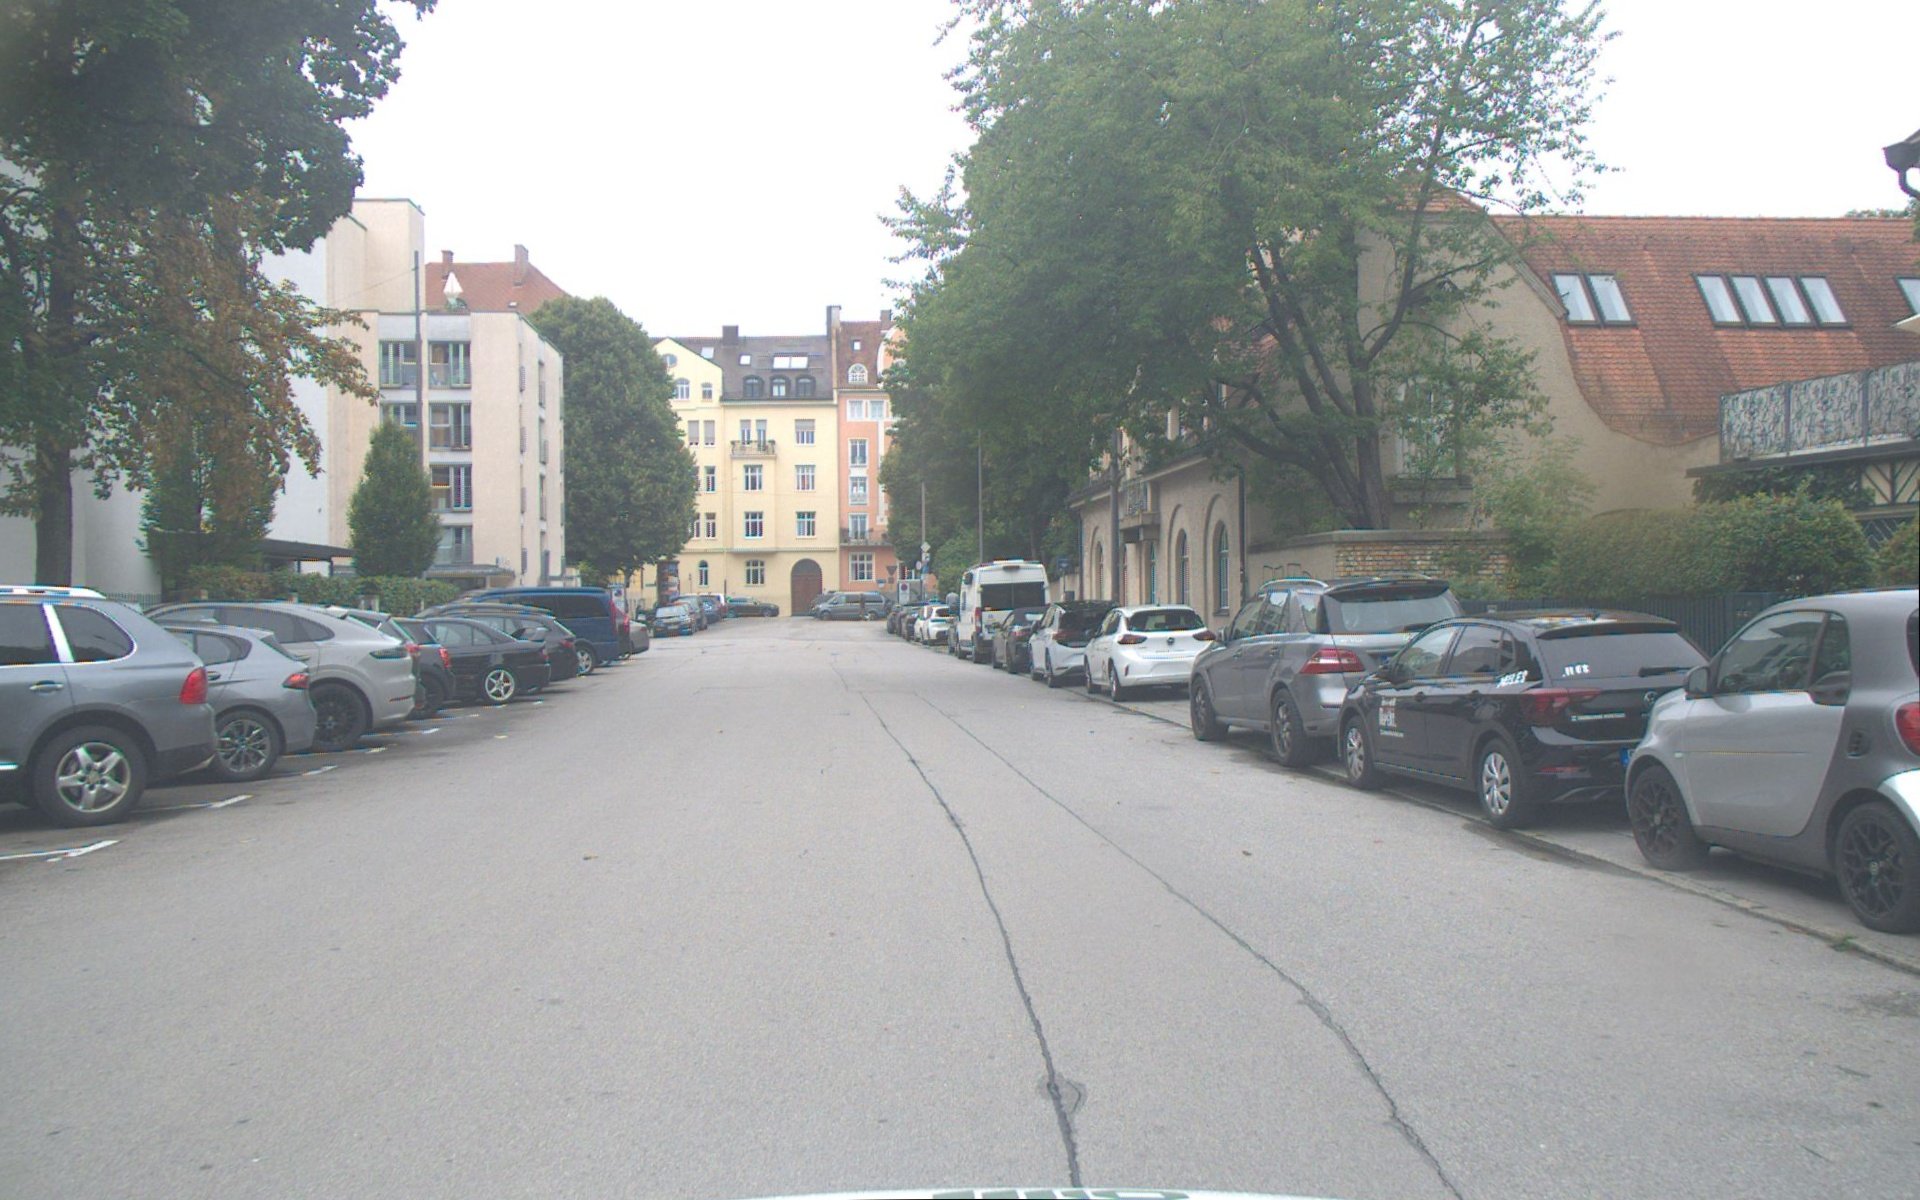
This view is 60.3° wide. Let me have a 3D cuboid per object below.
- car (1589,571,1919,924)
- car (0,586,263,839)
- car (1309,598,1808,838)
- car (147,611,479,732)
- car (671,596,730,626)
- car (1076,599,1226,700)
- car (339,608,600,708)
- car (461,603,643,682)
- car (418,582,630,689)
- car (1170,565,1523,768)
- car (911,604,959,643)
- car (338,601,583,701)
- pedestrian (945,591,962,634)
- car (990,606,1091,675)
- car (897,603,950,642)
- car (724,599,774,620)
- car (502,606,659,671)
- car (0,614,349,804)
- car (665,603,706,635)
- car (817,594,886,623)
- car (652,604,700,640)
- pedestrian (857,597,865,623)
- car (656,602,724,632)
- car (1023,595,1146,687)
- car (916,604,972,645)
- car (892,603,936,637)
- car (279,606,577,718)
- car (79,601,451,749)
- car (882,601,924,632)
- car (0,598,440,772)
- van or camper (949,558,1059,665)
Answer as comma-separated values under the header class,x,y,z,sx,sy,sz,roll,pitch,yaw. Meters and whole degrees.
class,x,y,z,sx,sy,sz,roll,pitch,yaw
car,4.890,0.635,8.690,1.706,1.563,2.941,-3,-1,-8
car,-7.631,0.816,11.994,4.367,1.729,2.108,-1,-1,-38
car,4.335,0.758,12.790,1.842,1.452,4.214,-3,0,-8
car,-9.099,0.950,23.316,4.159,1.487,1.776,-1,0,-30
car,-18.489,0.754,117.848,3.911,1.830,1.838,-4,0,-6
car,3.020,0.769,26.948,1.652,1.466,3.996,-2,0,-5
car,-8.603,0.977,29.052,4.154,1.487,1.722,-2,0,-27
car,-10.254,1.036,41.688,4.074,1.738,1.715,-3,0,-36
car,-9.606,0.745,36.589,4.169,2.102,1.716,-2,0,-35
car,3.823,0.600,17.400,1.956,1.741,4.876,-3,0,-8
car,-1.035,0.946,67.801,1.674,1.491,3.834,-2,0,-5
car,-9.511,0.940,31.550,4.162,1.637,1.719,-2,0,-31
pedestrian,-0.315,0.579,78.643,0.758,2.049,0.562,-1,0,-6
car,1.767,0.884,37.799,1.674,1.393,4.436,-2,0,-5
car,-1.613,0.940,72.052,1.770,1.491,3.830,-2,2,-9
car,-17.046,0.748,133.810,3.908,1.614,1.702,-1,0,-4
car,-10.959,1.085,47.860,4.077,1.637,1.714,-3,0,-38
car,-8.048,0.945,14.951,4.366,1.517,1.991,-1,-1,-37
car,-14.899,1.016,90.051,1.799,1.534,3.996,-4,0,-5
car,-7.362,0.595,112.183,4.614,1.913,1.837,0,0,-7
car,-13.588,1.039,79.288,1.799,1.534,3.996,-4,0,-5
pedestrian,-6.495,0.645,108.279,0.455,1.686,0.571,-1,0,-11
car,-16.526,1.015,101.226,3.911,1.534,1.838,-4,0,-6
car,2.341,0.738,32.041,1.674,1.564,4.236,-3,0,-5
car,-0.626,0.903,62.881,1.674,1.432,4.124,-2,0,-6
car,-2.174,0.914,77.456,1.639,1.367,3.831,-2,2,-8
car,-8.402,0.936,26.282,4.171,1.487,1.715,-3,0,-36
car,-8.787,0.886,20.970,4.159,1.627,1.868,-1,0,-30
car,-2.867,0.801,82.327,1.639,1.367,3.831,-2,2,-8
car,-8.177,0.862,18.314,4.346,1.649,2.068,-1,0,-27
van or camper,1.088,0.287,44.626,2.150,2.594,5.721,-2,0,-6
